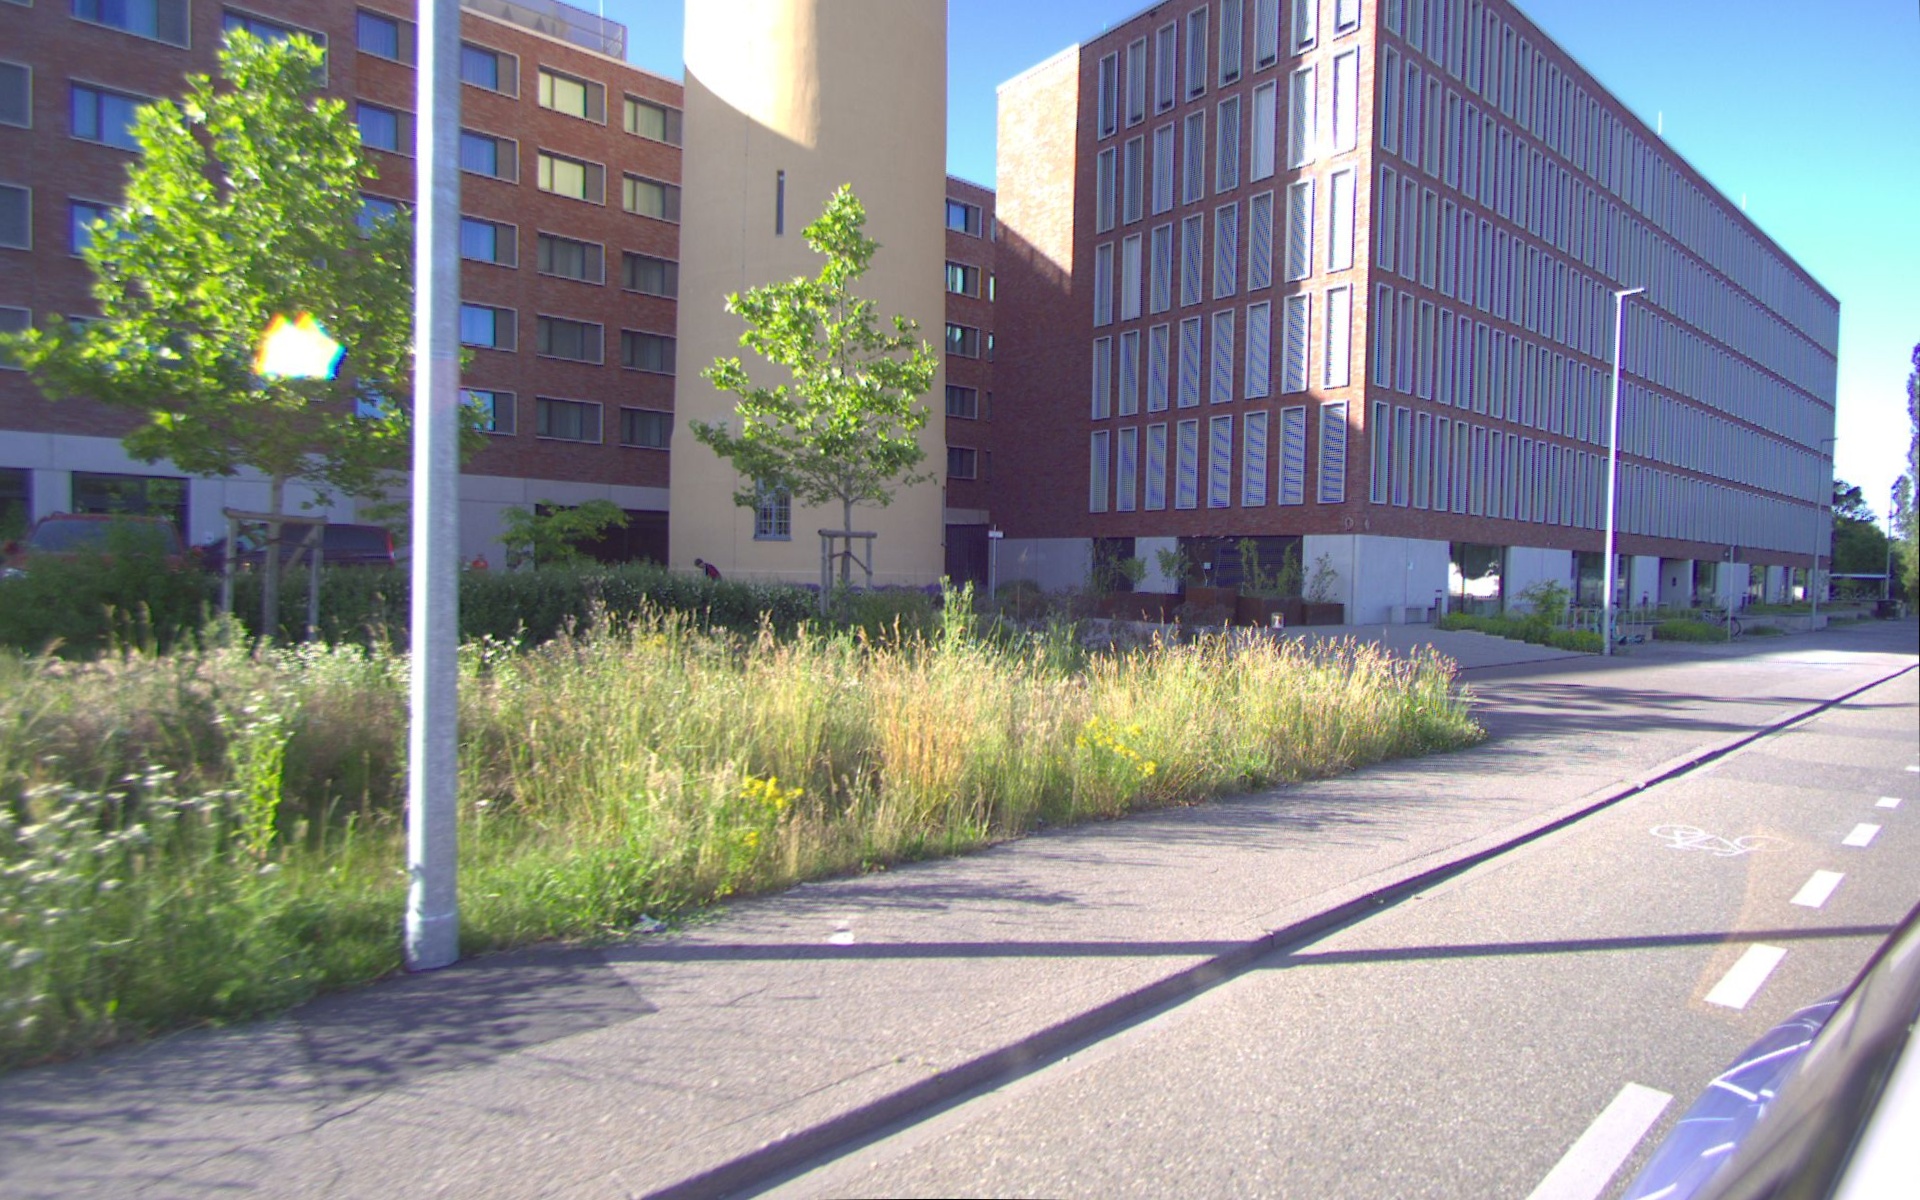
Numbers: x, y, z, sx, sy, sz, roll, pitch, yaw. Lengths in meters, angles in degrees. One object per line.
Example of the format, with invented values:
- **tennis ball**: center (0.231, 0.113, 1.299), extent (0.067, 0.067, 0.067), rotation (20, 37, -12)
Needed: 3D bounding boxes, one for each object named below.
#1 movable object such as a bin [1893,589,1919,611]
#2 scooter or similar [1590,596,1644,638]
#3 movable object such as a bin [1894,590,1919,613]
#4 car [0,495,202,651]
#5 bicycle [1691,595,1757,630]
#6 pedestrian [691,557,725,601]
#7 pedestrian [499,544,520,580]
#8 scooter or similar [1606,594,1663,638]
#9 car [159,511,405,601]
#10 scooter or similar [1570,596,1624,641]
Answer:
- **movable object such as a bin**: center (59.944, 0.007, 64.094), extent (1.323, 1.352, 1.130), rotation (0, 2, -43)
- **scooter or similar**: center (19.279, 0.491, 29.700), extent (0.359, 1.170, 1.247), rotation (0, 2, -37)
- **movable object such as a bin**: center (61.020, 0.081, 65.195), extent (1.323, 1.389, 1.130), rotation (0, 2, -43)
- **car**: center (-10.530, -0.315, 12.466), extent (1.818, 1.600, 4.195), rotation (0, 1, -38)
- **bicycle**: center (29.030, 0.464, 38.471), extent (1.931, 1.184, 0.369), rotation (4, 3, 43)
- **pedestrian**: center (-6.761, -0.575, 27.169), extent (0.800, 1.150, 0.758), rotation (1, 2, -7)
- **pedestrian**: center (-14.537, -1.231, 32.657), extent (0.341, 1.155, 0.525), rotation (1, 1, 44)
- **scooter or similar**: center (20.442, 0.459, 30.706), extent (0.416, 1.260, 1.344), rotation (0, 2, -37)
- **car**: center (-16.151, -0.976, 24.260), extent (4.709, 1.959, 1.975), rotation (0, 1, -41)
- **scooter or similar**: center (18.094, 0.520, 28.755), extent (0.334, 1.209, 1.247), rotation (0, 2, -37)
